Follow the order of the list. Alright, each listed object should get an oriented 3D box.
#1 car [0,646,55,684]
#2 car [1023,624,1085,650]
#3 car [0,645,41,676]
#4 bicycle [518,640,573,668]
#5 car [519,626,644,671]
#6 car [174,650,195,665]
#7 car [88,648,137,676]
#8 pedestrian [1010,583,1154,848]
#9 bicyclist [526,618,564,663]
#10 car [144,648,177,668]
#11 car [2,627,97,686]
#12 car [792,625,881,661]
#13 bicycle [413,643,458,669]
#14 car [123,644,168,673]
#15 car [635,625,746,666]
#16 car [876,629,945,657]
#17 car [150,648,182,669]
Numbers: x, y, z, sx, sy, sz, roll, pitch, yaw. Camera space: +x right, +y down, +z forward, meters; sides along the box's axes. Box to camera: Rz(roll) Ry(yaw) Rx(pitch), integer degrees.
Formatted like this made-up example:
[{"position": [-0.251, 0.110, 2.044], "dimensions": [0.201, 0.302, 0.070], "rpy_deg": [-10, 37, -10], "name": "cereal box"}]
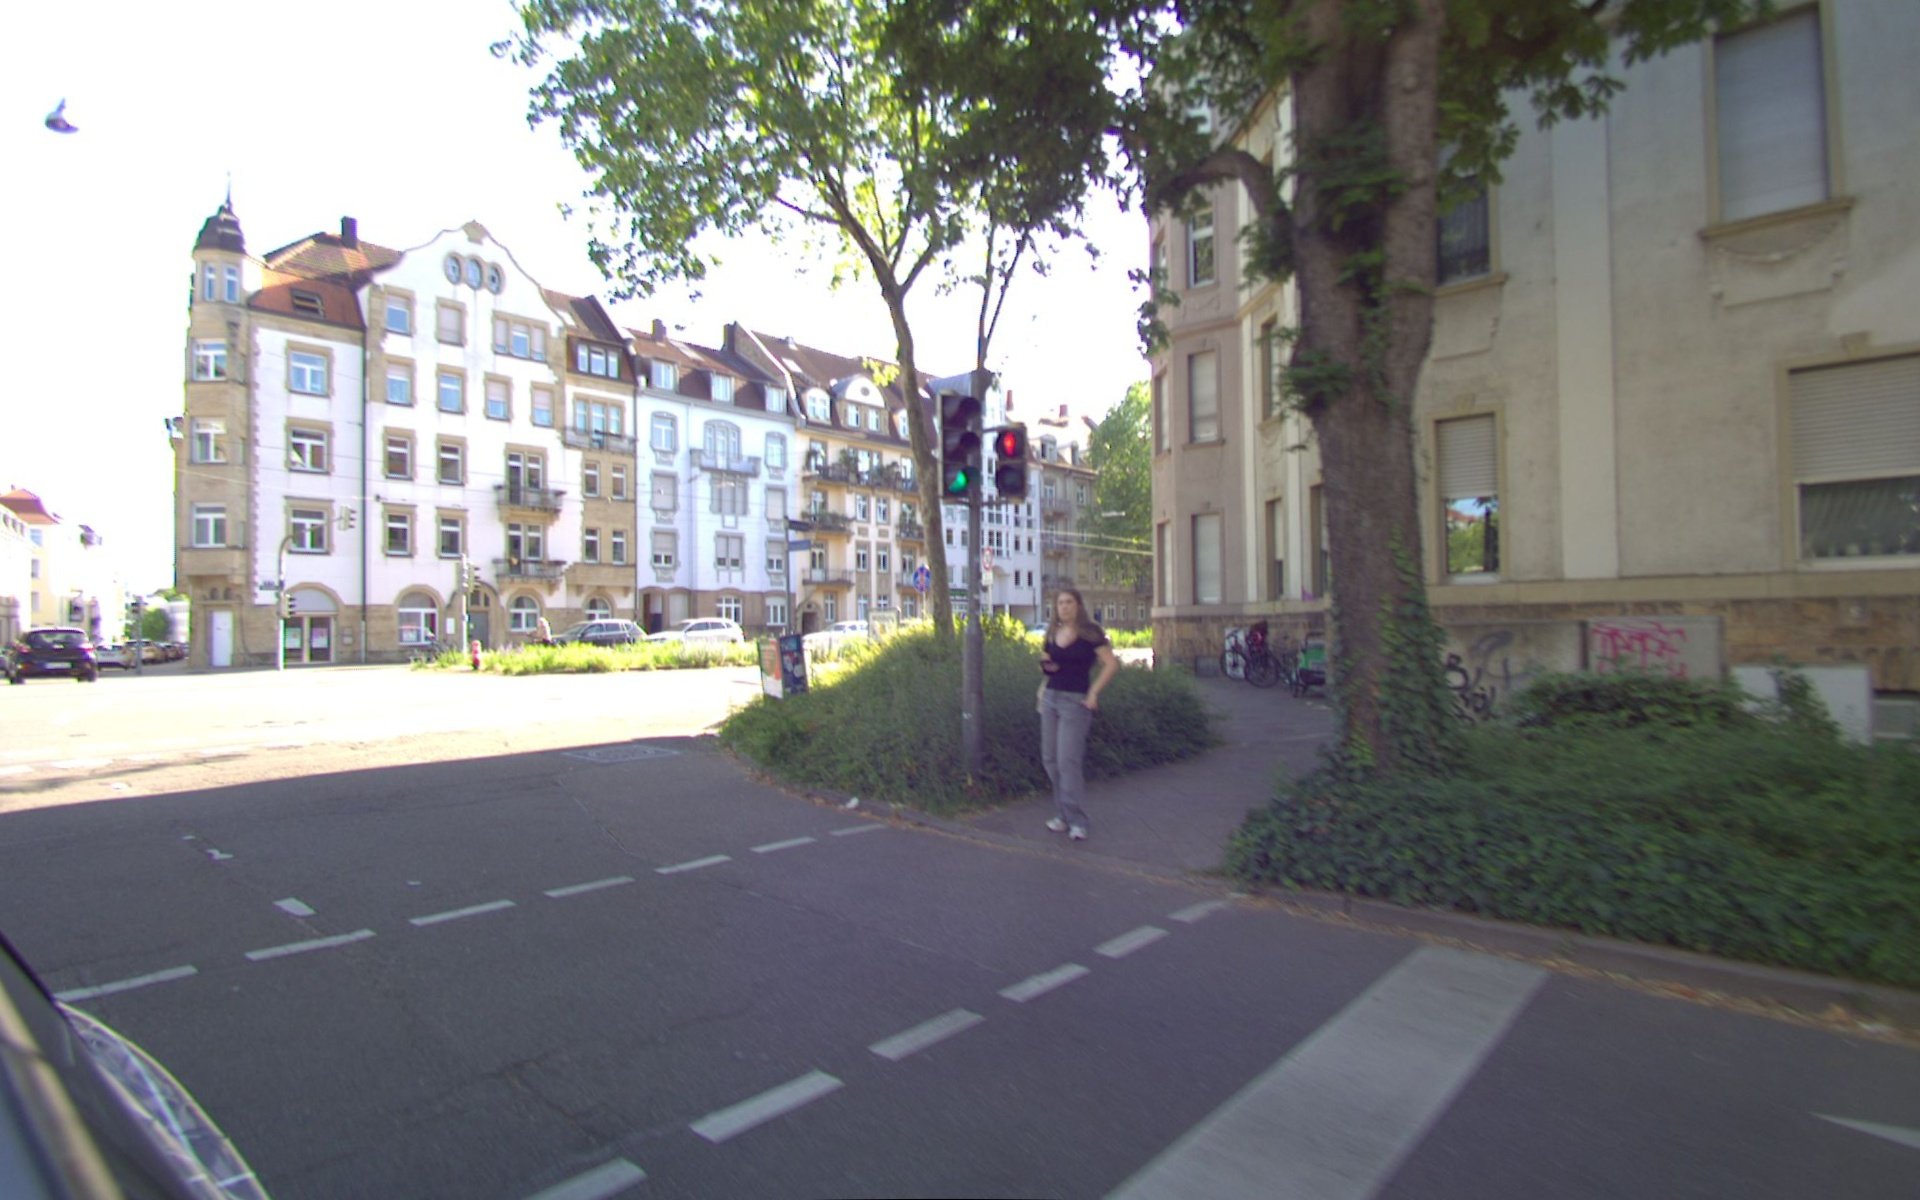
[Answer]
[{"position": [-38.903, 2.699, 41.960], "dimensions": [4.002, 1.469, 1.786], "rpy_deg": [-4, -3, 45], "name": "car"}, {"position": [5.970, 2.336, 64.143], "dimensions": [1.818, 1.603, 4.188], "rpy_deg": [-2, -2, 40], "name": "car"}, {"position": [-68.314, 4.402, 73.492], "dimensions": [1.804, 2.050, 3.828], "rpy_deg": [-2, -2, -35], "name": "car"}, {"position": [-14.576, 1.911, 35.638], "dimensions": [0.794, 0.932, 1.614], "rpy_deg": [-4, -3, 42], "name": "bicycle"}, {"position": [-14.812, 1.880, 39.743], "dimensions": [1.999, 1.657, 4.181], "rpy_deg": [-5, -4, 42], "name": "car"}, {"position": [-94.895, 6.976, 123.927], "dimensions": [1.888, 1.636, 4.356], "rpy_deg": [-4, 0, -36], "name": "car"}, {"position": [-44.883, 3.300, 53.626], "dimensions": [1.531, 1.422, 3.580], "rpy_deg": [3, -4, -33], "name": "car"}, {"position": [0.832, 0.753, 6.985], "dimensions": [0.684, 1.695, 0.681], "rpy_deg": [1, -2, -36], "name": "pedestrian"}, {"position": [-14.597, 1.405, 35.618], "dimensions": [0.687, 1.554, 1.060], "rpy_deg": [-3, -3, 42], "name": "bicyclist"}, {"position": [-68.665, 4.976, 86.938], "dimensions": [1.887, 1.529, 4.357], "rpy_deg": [-4, 0, -34], "name": "car"}, {"position": [-24.732, 1.494, 27.464], "dimensions": [3.809, 1.475, 1.642], "rpy_deg": [-2, -2, 44], "name": "car"}, {"position": [-5.560, 1.949, 45.834], "dimensions": [1.765, 1.541, 3.844], "rpy_deg": [-2, -3, 40], "name": "car"}, {"position": [-24.426, 2.601, 47.126], "dimensions": [0.610, 1.142, 1.786], "rpy_deg": [-3, -3, 40], "name": "bicycle"}, {"position": [-53.237, 3.783, 66.235], "dimensions": [1.887, 1.671, 4.357], "rpy_deg": [-4, 0, -34], "name": "car"}, {"position": [-10.652, 1.786, 40.172], "dimensions": [1.766, 1.541, 3.964], "rpy_deg": [-3, -3, 42], "name": "car"}, {"position": [-2.588, 2.246, 53.107], "dimensions": [1.592, 1.387, 3.652], "rpy_deg": [-2, -2, 40], "name": "car"}, {"position": [-72.334, 5.321, 92.226], "dimensions": [1.887, 1.636, 4.357], "rpy_deg": [-4, 0, -34], "name": "car"}]
